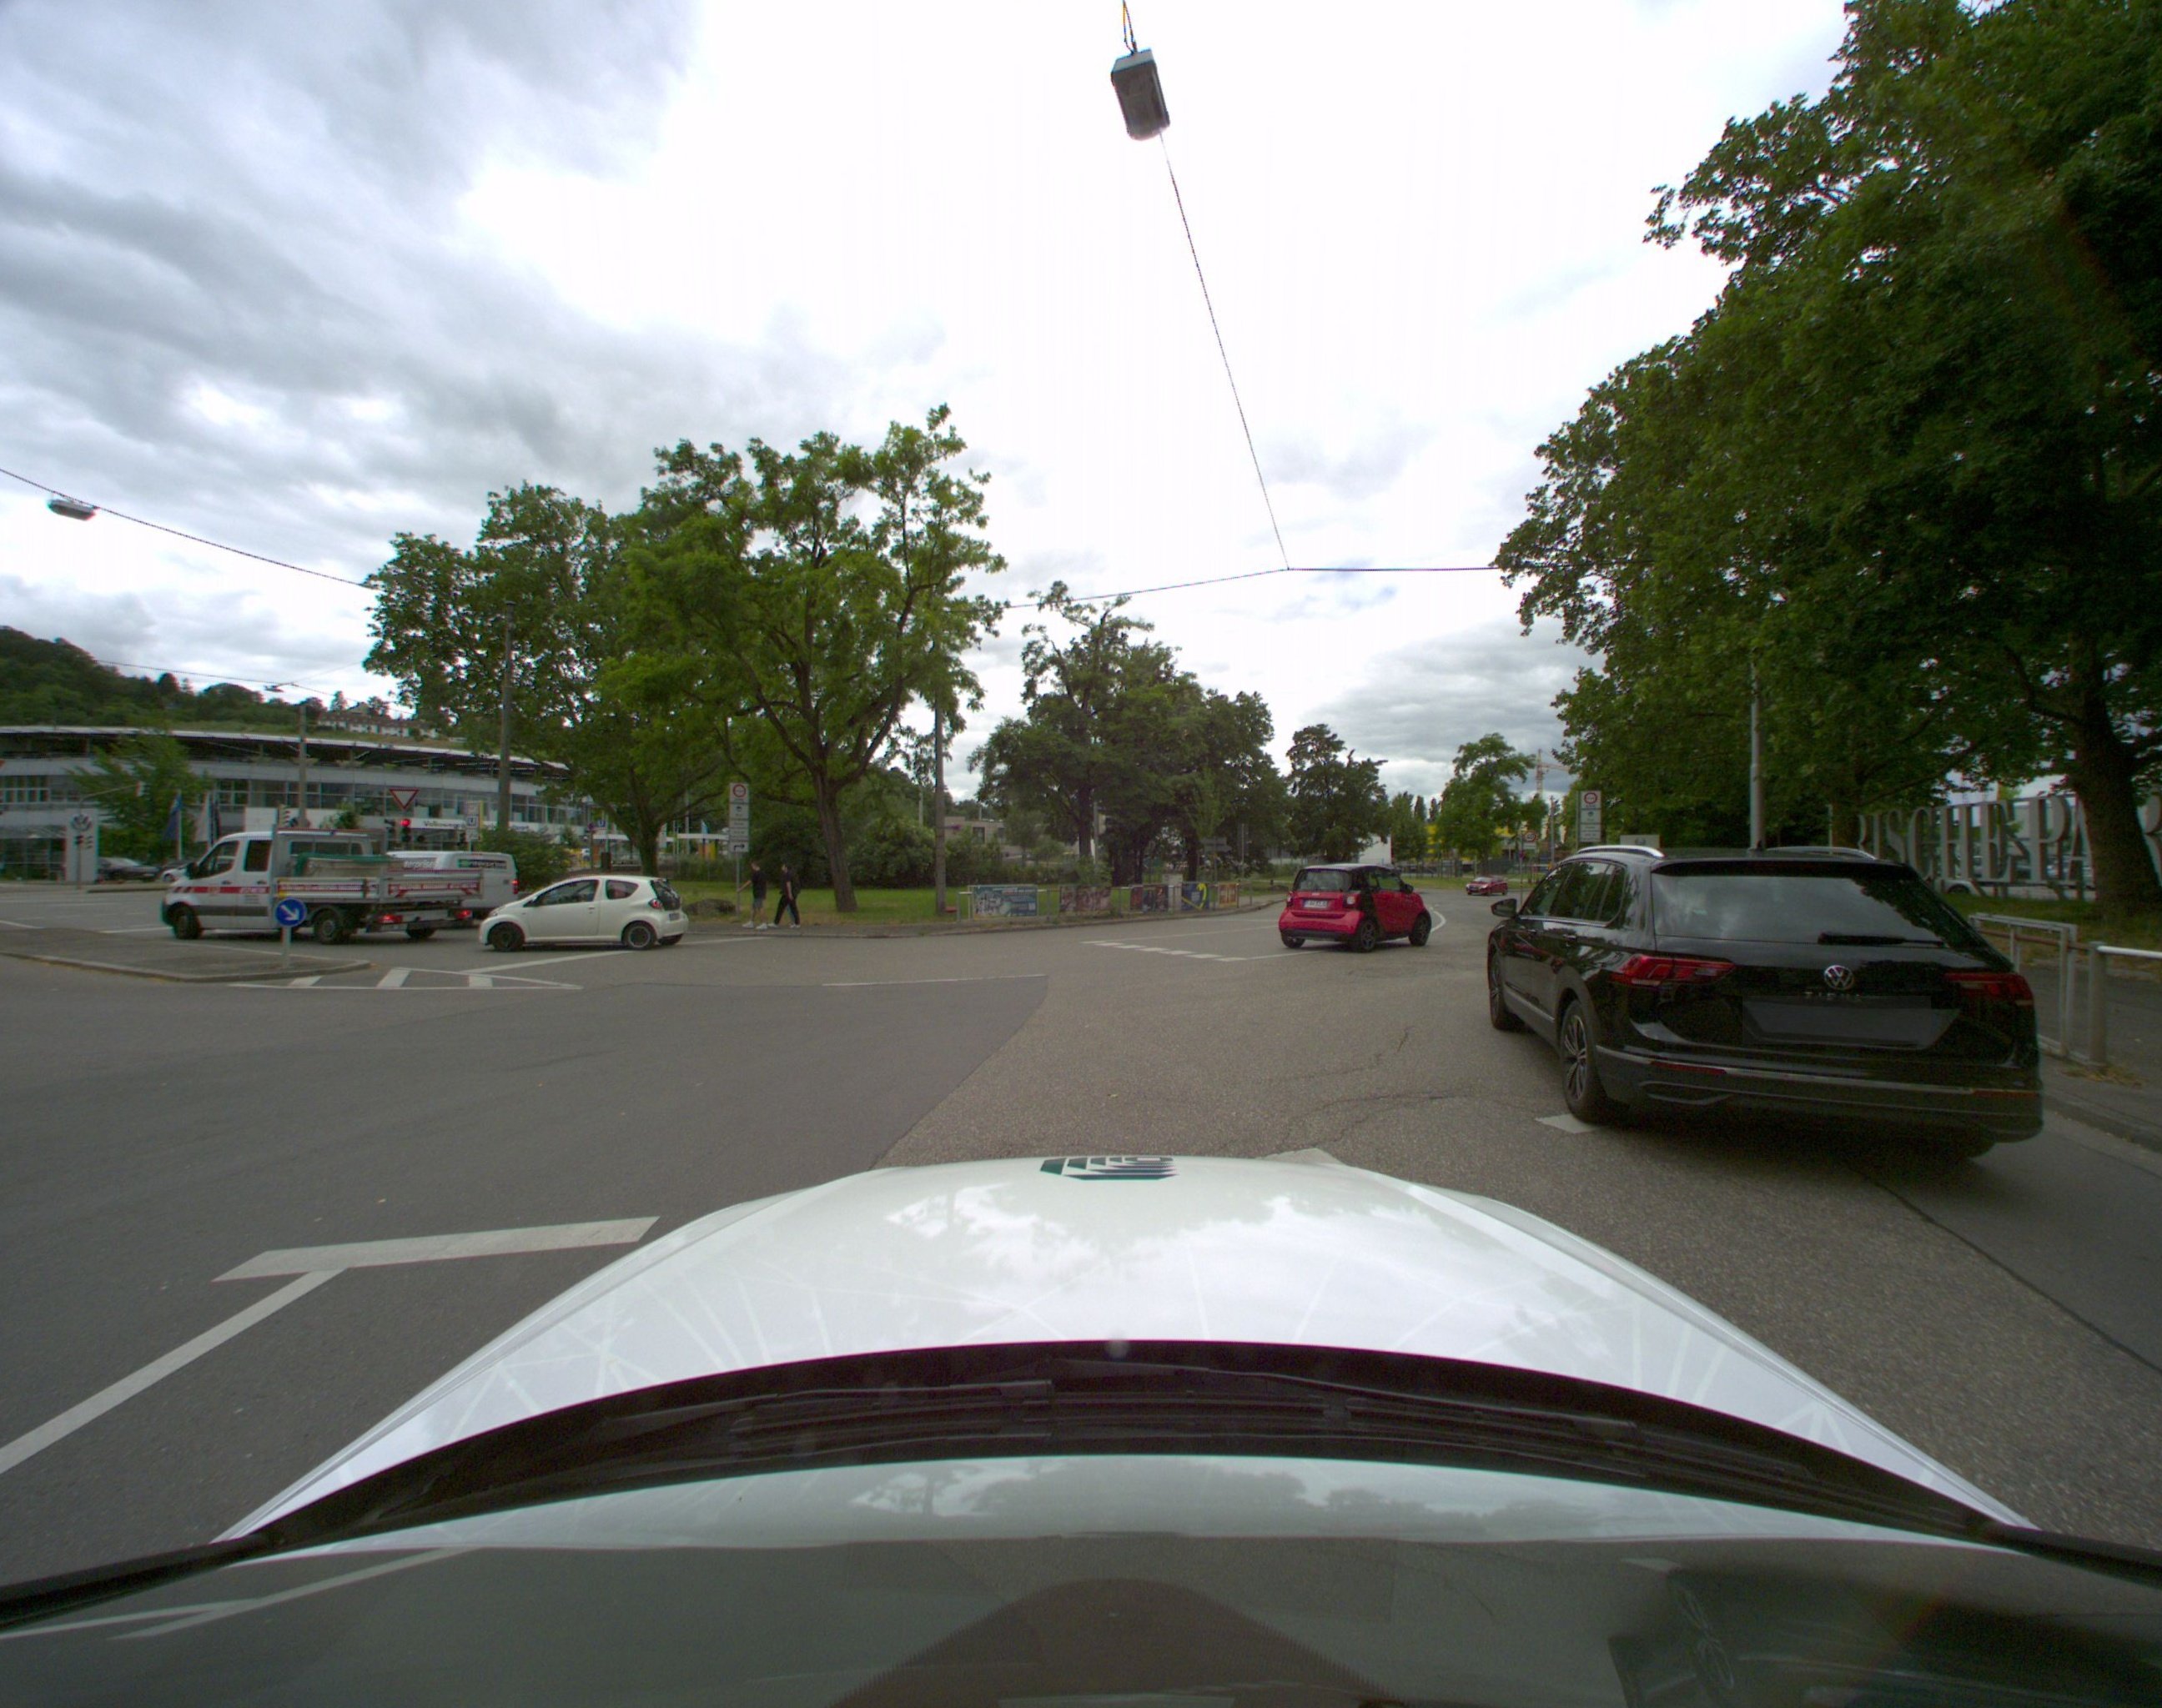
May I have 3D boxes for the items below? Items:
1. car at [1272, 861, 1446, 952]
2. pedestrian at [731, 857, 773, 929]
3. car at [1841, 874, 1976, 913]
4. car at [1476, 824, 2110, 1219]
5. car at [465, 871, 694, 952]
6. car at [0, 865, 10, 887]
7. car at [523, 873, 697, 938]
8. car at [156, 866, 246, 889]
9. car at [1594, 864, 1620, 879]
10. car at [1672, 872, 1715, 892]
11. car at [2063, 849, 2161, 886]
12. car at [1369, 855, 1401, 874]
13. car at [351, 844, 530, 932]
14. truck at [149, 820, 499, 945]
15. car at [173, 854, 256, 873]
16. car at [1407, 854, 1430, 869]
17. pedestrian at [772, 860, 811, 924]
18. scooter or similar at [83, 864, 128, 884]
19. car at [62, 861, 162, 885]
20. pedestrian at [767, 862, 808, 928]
[{"bbox_3d":[5.159,0.873,15.031,3.035,1.465,1.697,0,0,-39],"label":"car"},{"bbox_3d":[-8.649,1.007,21.415,0.781,1.857,0.697,0,0,7],"label":"pedestrian"},{"bbox_3d":[34.384,1.611,33.947,3.687,1.505,1.488,0,-1,20],"label":"car"},{"bbox_3d":[4.064,0.682,5.660,1.829,1.635,4.205,1,0,18],"label":"car"},{"bbox_3d":[-9.708,1.077,15.994,3.416,1.432,1.640,0,0,-7],"label":"car"},{"bbox_3d":[-77.180,1.516,55.504,1.753,1.533,4.841,0,0,28],"label":"car"},{"bbox_3d":[-11.263,1.189,19.550,3.395,1.457,1.650,0,-1,14],"label":"car"},{"bbox_3d":[-61.107,1.618,56.608,4.004,1.501,1.772,0,0,-6],"label":"car"},{"bbox_3d":[54.516,1.798,84.354,2.021,1.536,3.967,0,-1,36],"label":"car"},{"bbox_3d":[48.037,2.151,63.861,3.385,1.490,1.699,1,-1,-35],"label":"car"},{"bbox_3d":[46.773,0.590,35.528,4.584,1.558,2.011,0,0,23],"label":"car"},{"bbox_3d":[32.036,1.093,85.817,1.945,2.013,4.245,0,0,39],"label":"car"},{"bbox_3d":[-16.854,0.826,21.399,4.701,2.107,2.008,0,0,29],"label":"car"},{"bbox_3d":[-16.081,0.576,17.431,5.969,2.397,2.438,0,0,11],"label":"truck"},{"bbox_3d":[-70.324,0.743,66.144,4.214,1.492,1.784,0,0,-20],"label":"car"},{"bbox_3d":[47.016,1.046,113.405,1.945,2.013,4.245,0,0,39],"label":"car"},{"bbox_3d":[-7.976,1.038,22.476,0.781,1.740,0.697,0,0,7],"label":"pedestrian"},{"bbox_3d":[-59.514,1.236,49.687,0.461,1.178,1.684,-1,-1,32],"label":"scooter or similar"},{"bbox_3d":[-61.704,1.185,51.911,3.866,1.501,1.771,0,0,-8],"label":"car"},{"bbox_3d":[-7.822,1.072,21.717,0.781,1.714,0.697,0,0,7],"label":"pedestrian"}]
